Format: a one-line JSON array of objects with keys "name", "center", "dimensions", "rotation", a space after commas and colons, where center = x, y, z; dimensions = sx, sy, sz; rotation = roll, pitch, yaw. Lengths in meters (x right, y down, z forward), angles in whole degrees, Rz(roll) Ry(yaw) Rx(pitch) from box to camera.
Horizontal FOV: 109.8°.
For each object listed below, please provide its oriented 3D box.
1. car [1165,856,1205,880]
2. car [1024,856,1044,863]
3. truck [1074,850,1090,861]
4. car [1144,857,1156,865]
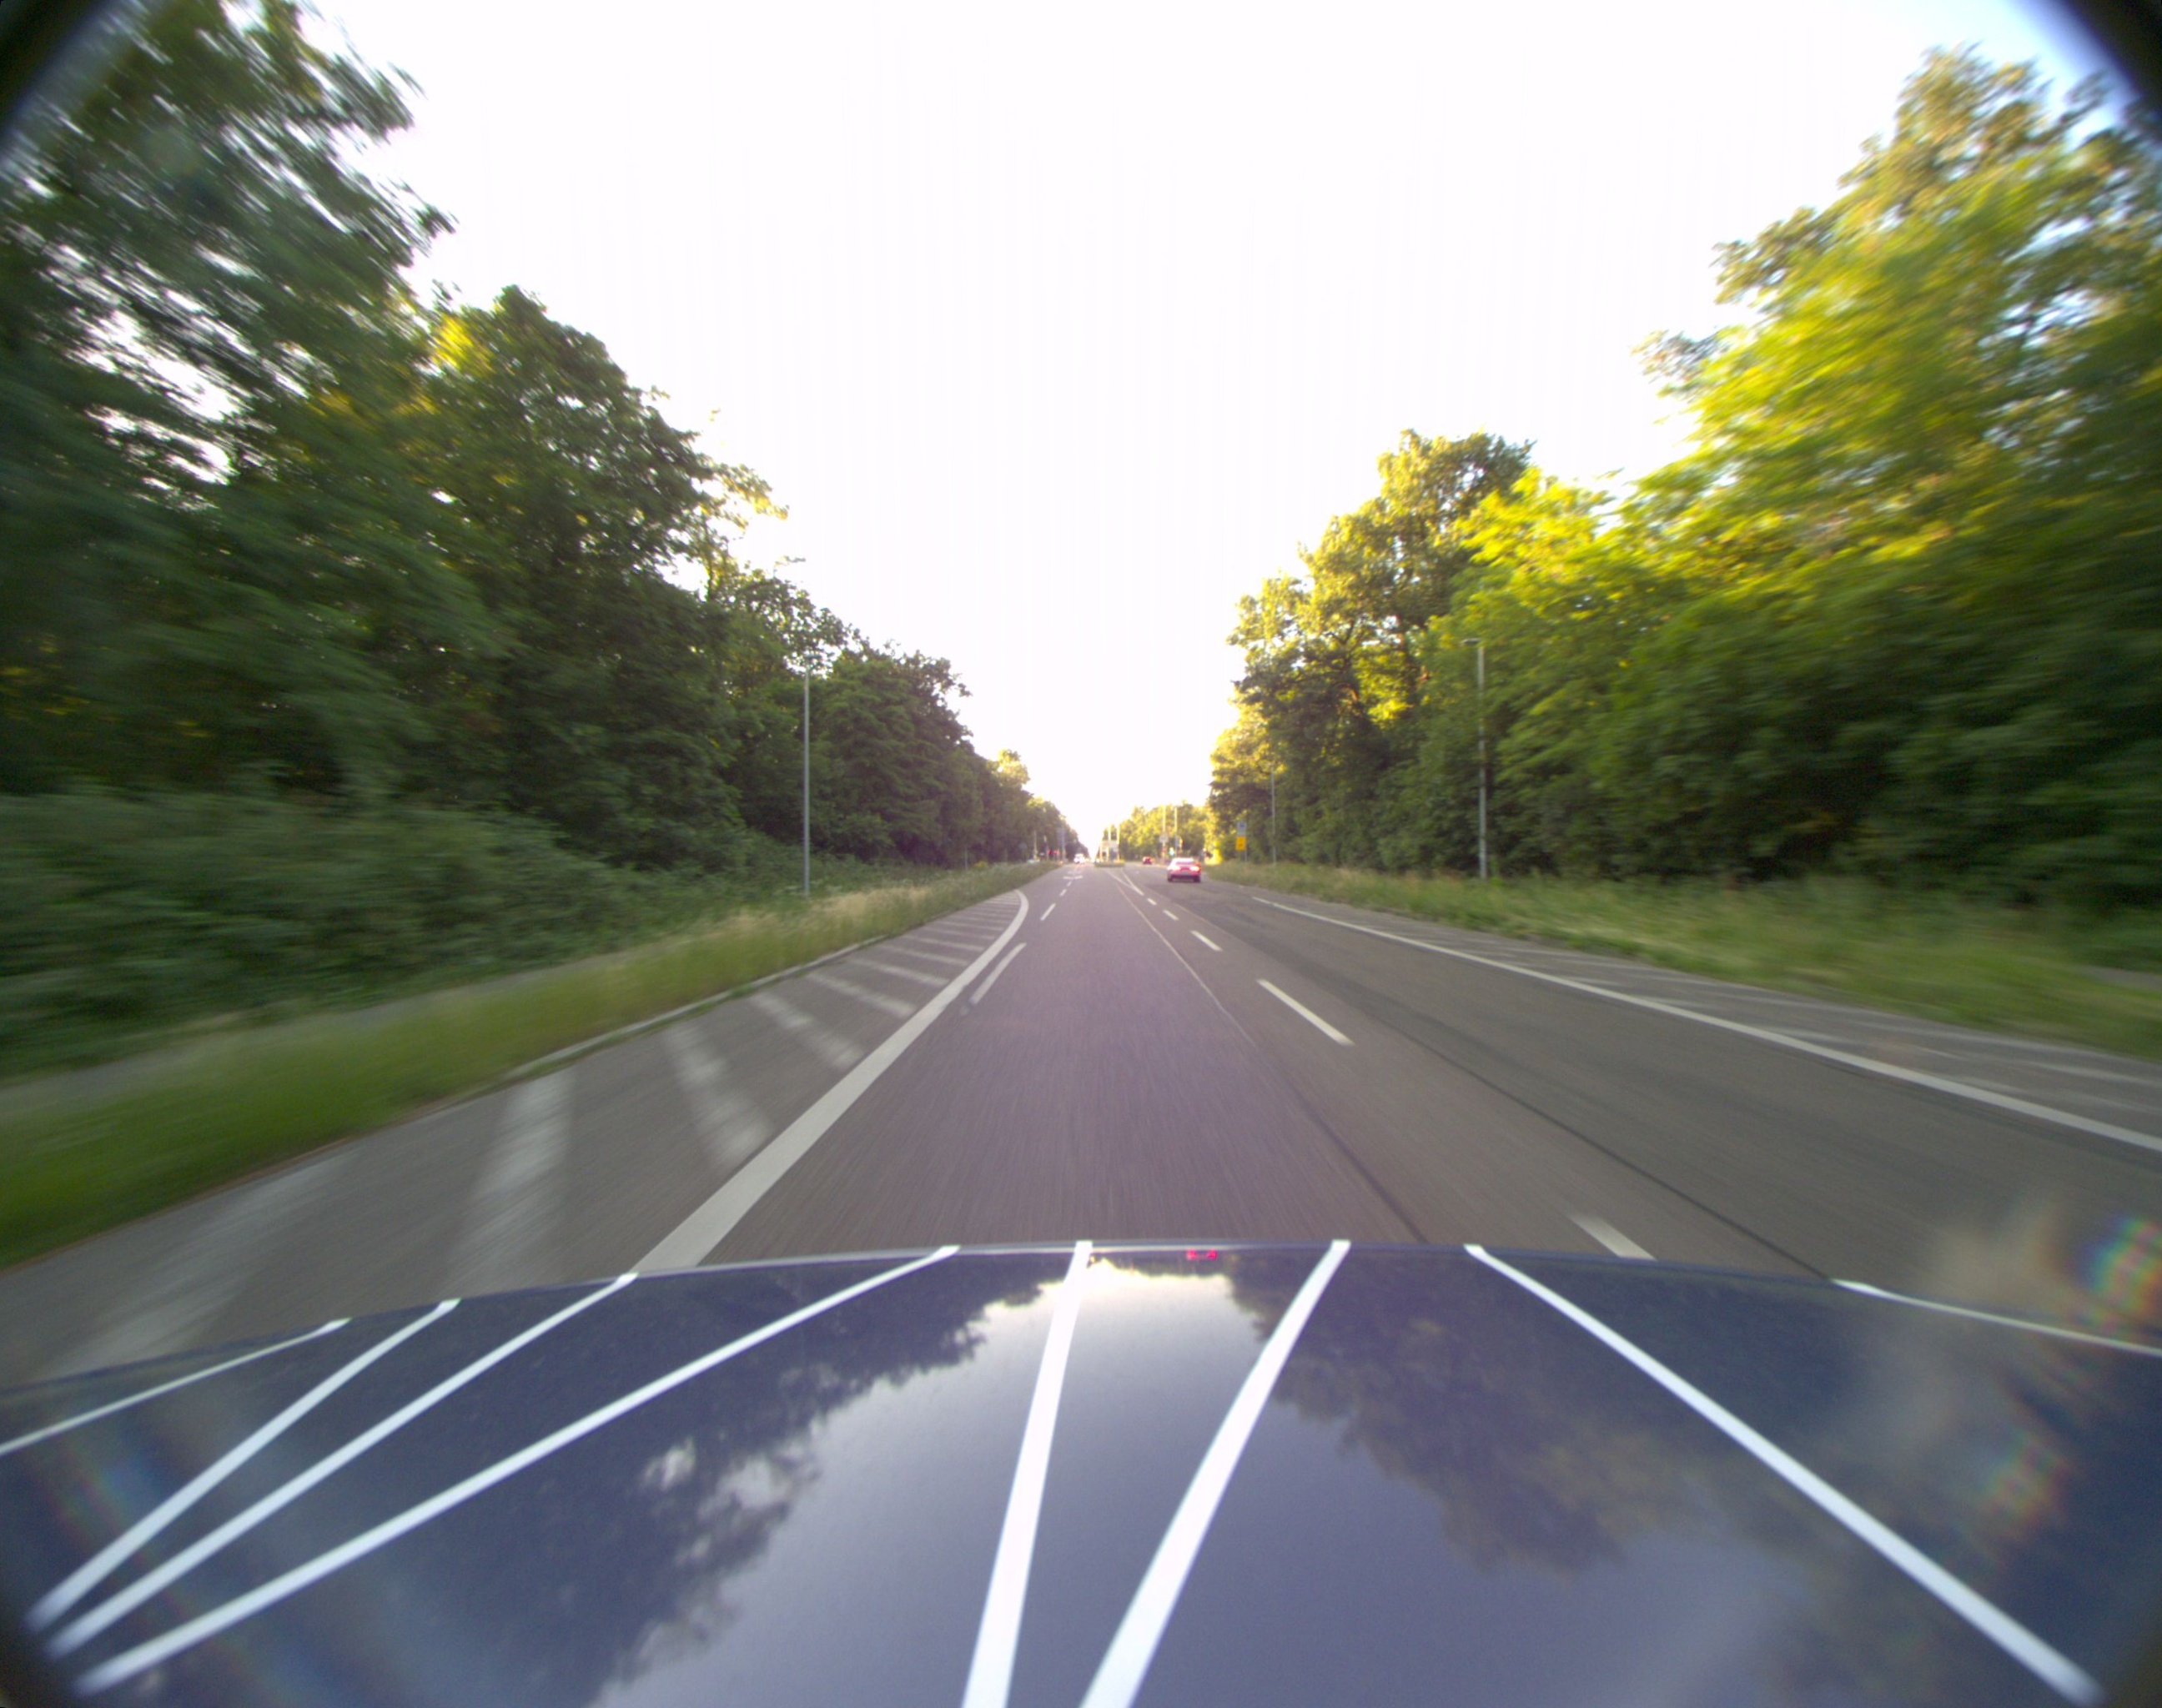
[{"name": "car", "center": [6.418, 0.903, 47.301], "dimensions": [2.068, 1.426, 4.468], "rotation": [1, -2, 3]}, {"name": "car", "center": [-10.844, 1.287, 174.519], "dimensions": [4.235, 1.447, 1.720], "rotation": [-1, 0, -16]}, {"name": "truck", "center": [0.223, 0.297, 191.043], "dimensions": [2.601, 2.542, 6.027], "rotation": [-2, 1, 12]}, {"name": "car", "center": [13.951, 1.391, 153.303], "dimensions": [1.822, 1.525, 4.460], "rotation": [1, 0, 13]}]
